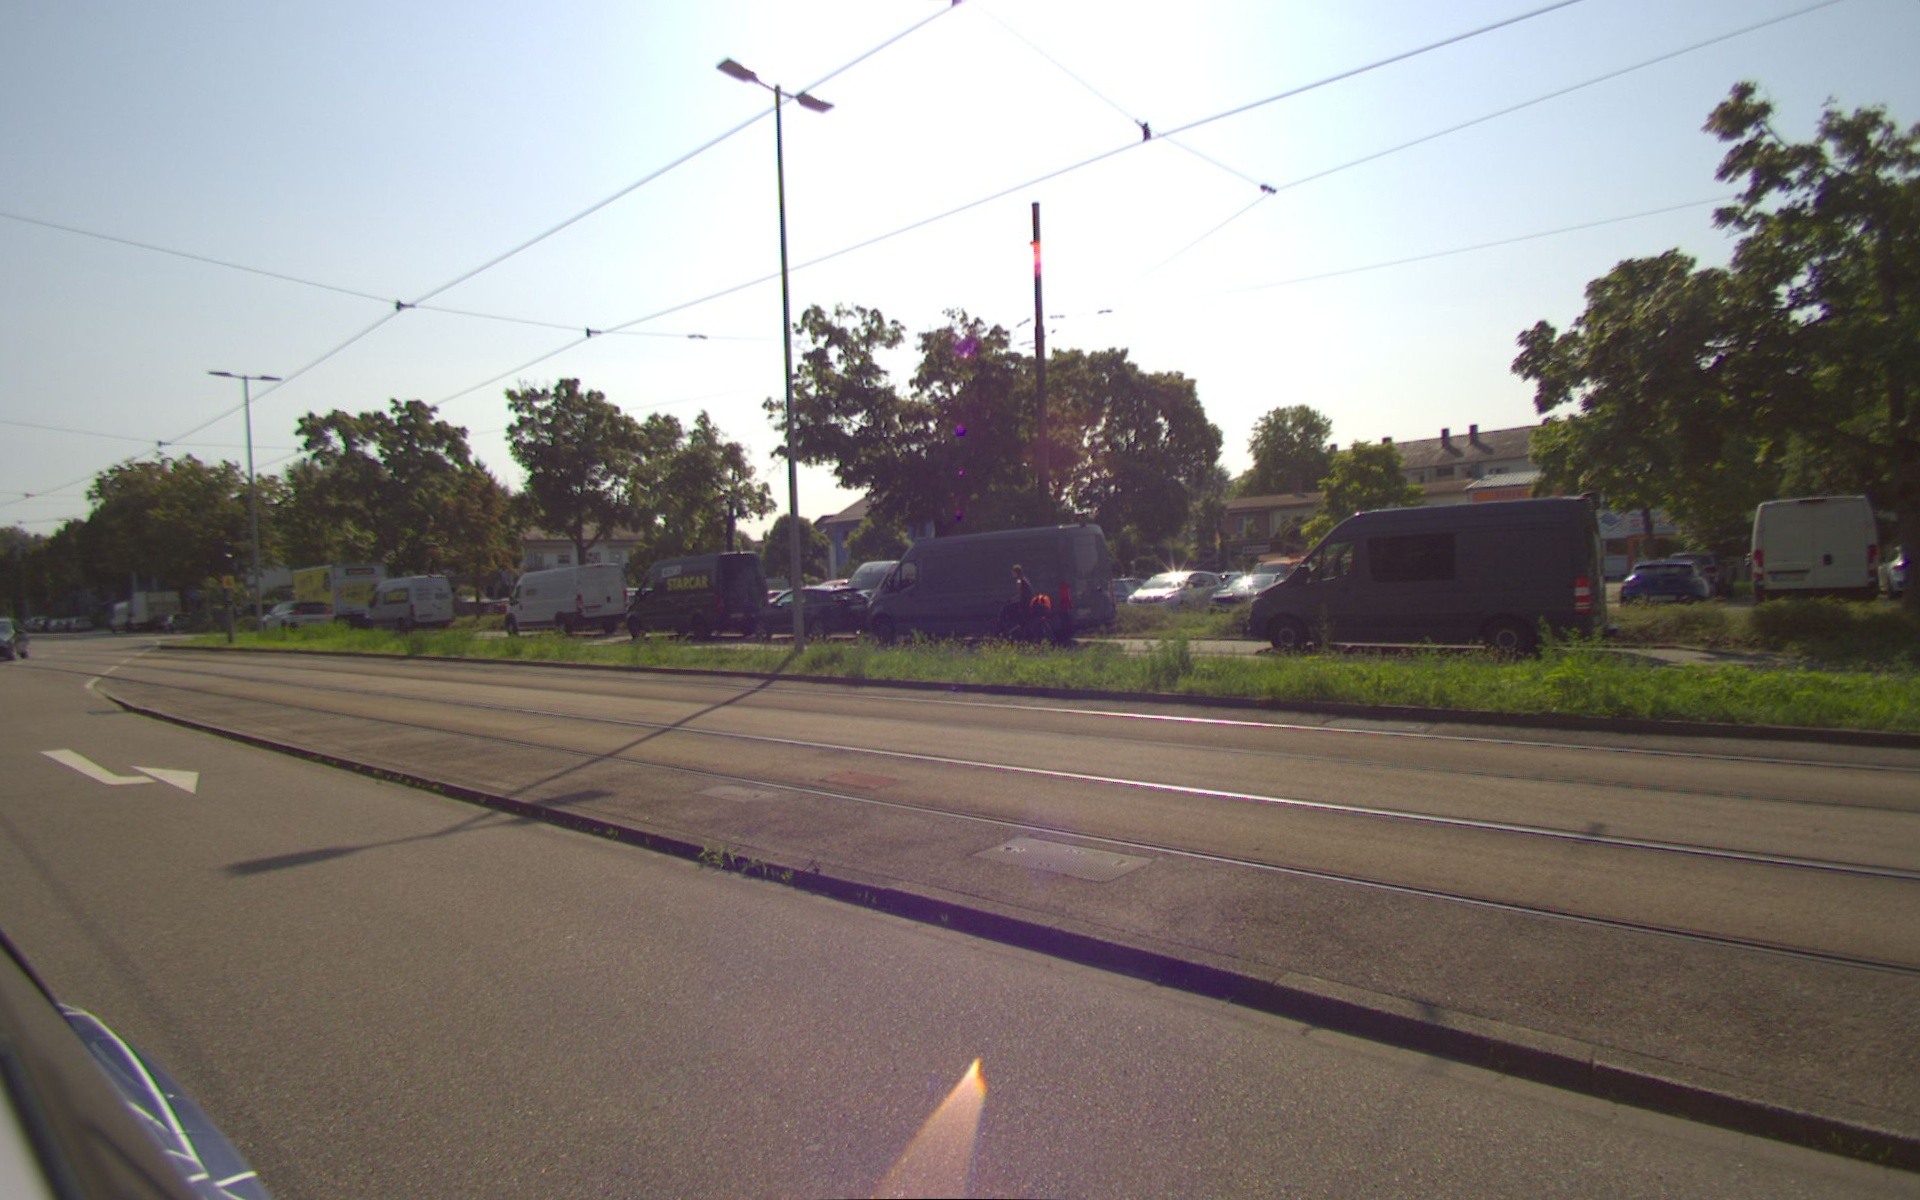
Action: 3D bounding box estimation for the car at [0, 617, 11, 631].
[{"bbox_3d":[-122.265,3.062,129.010,3.642,1.781,1.531,-1,0,40],"label":"car"}]

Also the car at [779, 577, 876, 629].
[{"bbox_3d":[-5.616,0.127,43.277,1.801,2.115,3.948,-1,0,38],"label":"car"}]

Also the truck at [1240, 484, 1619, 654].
[{"bbox_3d":[8.117,-0.447,17.925,5.735,2.567,2.060,-1,0,40],"label":"truck"}]

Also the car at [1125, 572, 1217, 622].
[{"bbox_3d":[6.873,-0.122,32.680,1.619,1.474,4.126,-1,1,31],"label":"car"}]

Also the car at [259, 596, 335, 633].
[{"bbox_3d":[-29.180,0.634,44.493,3.949,1.531,1.904,-1,0,43],"label":"car"}]

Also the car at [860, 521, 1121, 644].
[{"bbox_3d":[0.550,-0.387,24.369,6.465,2.605,1.967,-1,3,42],"label":"car"}]

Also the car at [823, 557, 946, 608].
[{"bbox_3d":[-3.023,-0.688,41.389,2.051,1.940,5.134,-1,0,39],"label":"car"}]

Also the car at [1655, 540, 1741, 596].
[{"bbox_3d":[25.054,-1.039,34.322,3.759,1.782,1.760,-1,0,-44],"label":"car"}]

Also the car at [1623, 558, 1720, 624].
[{"bbox_3d":[16.789,-0.209,23.828,1.632,1.437,3.371,-1,0,39],"label":"car"}]

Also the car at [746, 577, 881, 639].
[{"bbox_3d":[-4.193,0.213,28.669,3.834,1.563,1.726,-1,3,43],"label":"car"}]

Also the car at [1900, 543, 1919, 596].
[{"bbox_3d":[28.963,-0.904,29.730,1.877,1.513,3.407,-1,0,44],"label":"car"}]

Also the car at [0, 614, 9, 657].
[{"bbox_3d":[-33.824,1.206,34.474,3.934,1.435,1.753,-1,-1,42],"label":"car"}]

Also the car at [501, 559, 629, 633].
[{"bbox_3d":[-14.870,-0.118,37.921,5.628,2.606,2.110,-1,0,41],"label":"car"}]

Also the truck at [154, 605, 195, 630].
[{"bbox_3d":[-58.889,1.289,75.847,3.967,1.786,1.669,-1,0,41],"label":"truck"}]

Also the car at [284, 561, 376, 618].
[{"bbox_3d":[-33.223,-0.477,53.238,7.228,2.826,2.102,-1,0,41],"label":"car"}]

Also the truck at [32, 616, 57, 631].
[{"bbox_3d":[-101.564,2.588,112.261,3.654,1.687,1.669,-1,0,41],"label":"truck"}]

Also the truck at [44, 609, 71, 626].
[{"bbox_3d":[-95.840,1.833,107.460,3.654,1.687,1.669,-1,0,41],"label":"truck"}]

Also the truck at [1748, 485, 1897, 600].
[{"bbox_3d":[18.959,-1.136,22.425,2.257,2.189,5.435,-1,0,39],"label":"truck"}]

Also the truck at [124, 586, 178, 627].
[{"bbox_3d":[-65.572,0.505,81.935,8.788,3.145,2.248,-1,0,43],"label":"truck"}]

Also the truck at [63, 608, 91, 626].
[{"bbox_3d":[-88.609,1.691,101.541,3.654,1.687,1.669,-1,0,41],"label":"truck"}]

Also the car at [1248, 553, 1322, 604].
[{"bbox_3d":[14.303,-0.955,44.403,1.801,2.113,3.949,-1,2,38],"label":"car"}]

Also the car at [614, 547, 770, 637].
[{"bbox_3d":[-8.677,-0.218,32.388,5.908,2.605,1.803,-1,2,42],"label":"car"}]

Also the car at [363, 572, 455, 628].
[{"bbox_3d":[-25.763,0.003,47.228,4.827,2.477,2.121,-1,0,40],"label":"car"}]
